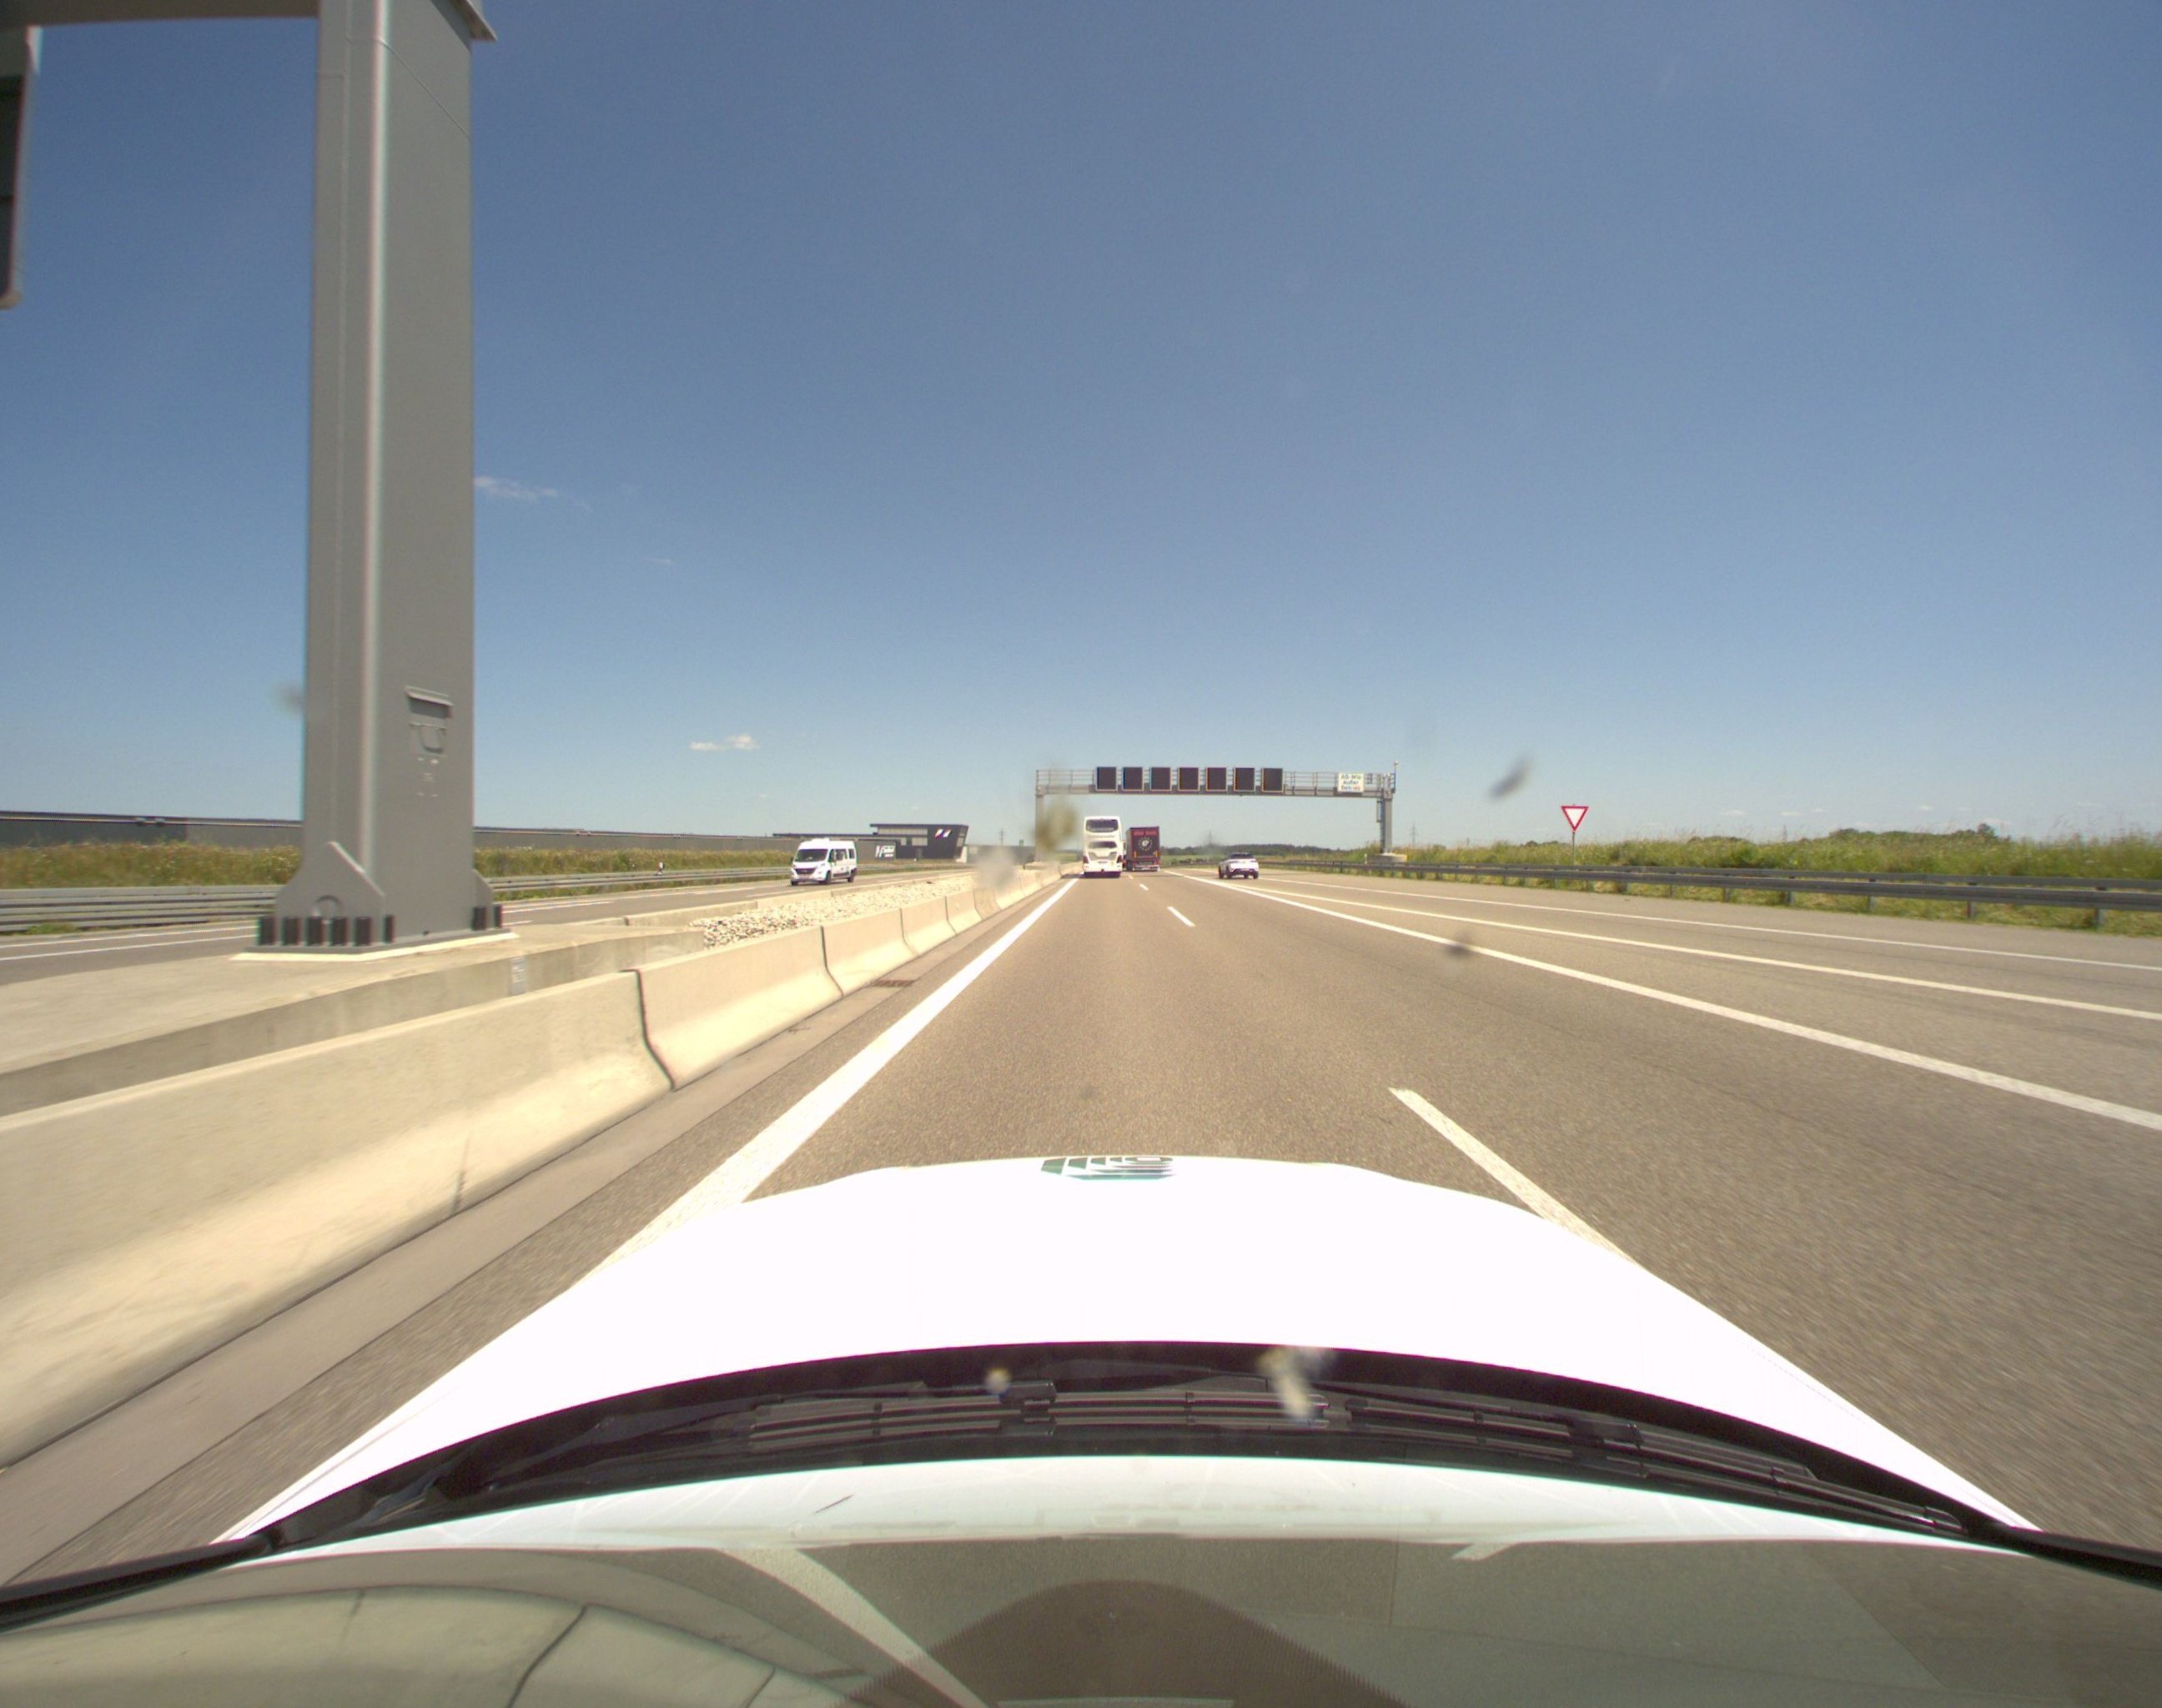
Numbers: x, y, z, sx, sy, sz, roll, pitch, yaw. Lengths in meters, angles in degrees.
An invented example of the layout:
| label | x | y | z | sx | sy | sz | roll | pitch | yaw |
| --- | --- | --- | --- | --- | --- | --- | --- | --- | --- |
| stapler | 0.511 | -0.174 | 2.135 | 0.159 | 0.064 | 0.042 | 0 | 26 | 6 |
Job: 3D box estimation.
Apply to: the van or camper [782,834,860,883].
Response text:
| label | x | y | z | sx | sy | sz | roll | pitch | yaw |
| --- | --- | --- | --- | --- | --- | --- | --- | --- | --- |
| van or camper | -14.698 | 0.245 | 46.490 | 2.311 | 2.558 | 6.317 | -1 | 0 | 1 |

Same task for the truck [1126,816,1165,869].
| label | x | y | z | sx | sy | sz | roll | pitch | yaw |
| --- | --- | --- | --- | --- | --- | --- | --- | --- | --- |
| truck | 5.956 | -0.904 | 77.625 | 3.365 | 4.464 | 13.575 | 0 | -2 | 3 |

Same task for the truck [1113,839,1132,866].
| label | x | y | z | sx | sy | sz | roll | pitch | yaw |
| --- | --- | --- | --- | --- | --- | --- | --- | --- | --- |
| truck | 5.873 | -0.218 | 117.005 | 2.429 | 3.789 | 6.493 | -1 | 0 | 0 |

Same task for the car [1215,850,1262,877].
| label | x | y | z | sx | sy | sz | roll | pitch | yaw |
| --- | --- | --- | --- | --- | --- | --- | --- | --- | --- |
| car | 9.335 | 0.537 | 48.657 | 1.886 | 1.529 | 4.259 | -1 | 0 | -2 |

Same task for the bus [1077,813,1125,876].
| label | x | y | z | sx | sy | sz | roll | pitch | yaw |
| --- | --- | --- | --- | --- | --- | --- | --- | --- | --- |
| bus | 1.296 | -0.682 | 56.827 | 2.971 | 3.974 | 9.101 | 0 | 1 | -1 |
